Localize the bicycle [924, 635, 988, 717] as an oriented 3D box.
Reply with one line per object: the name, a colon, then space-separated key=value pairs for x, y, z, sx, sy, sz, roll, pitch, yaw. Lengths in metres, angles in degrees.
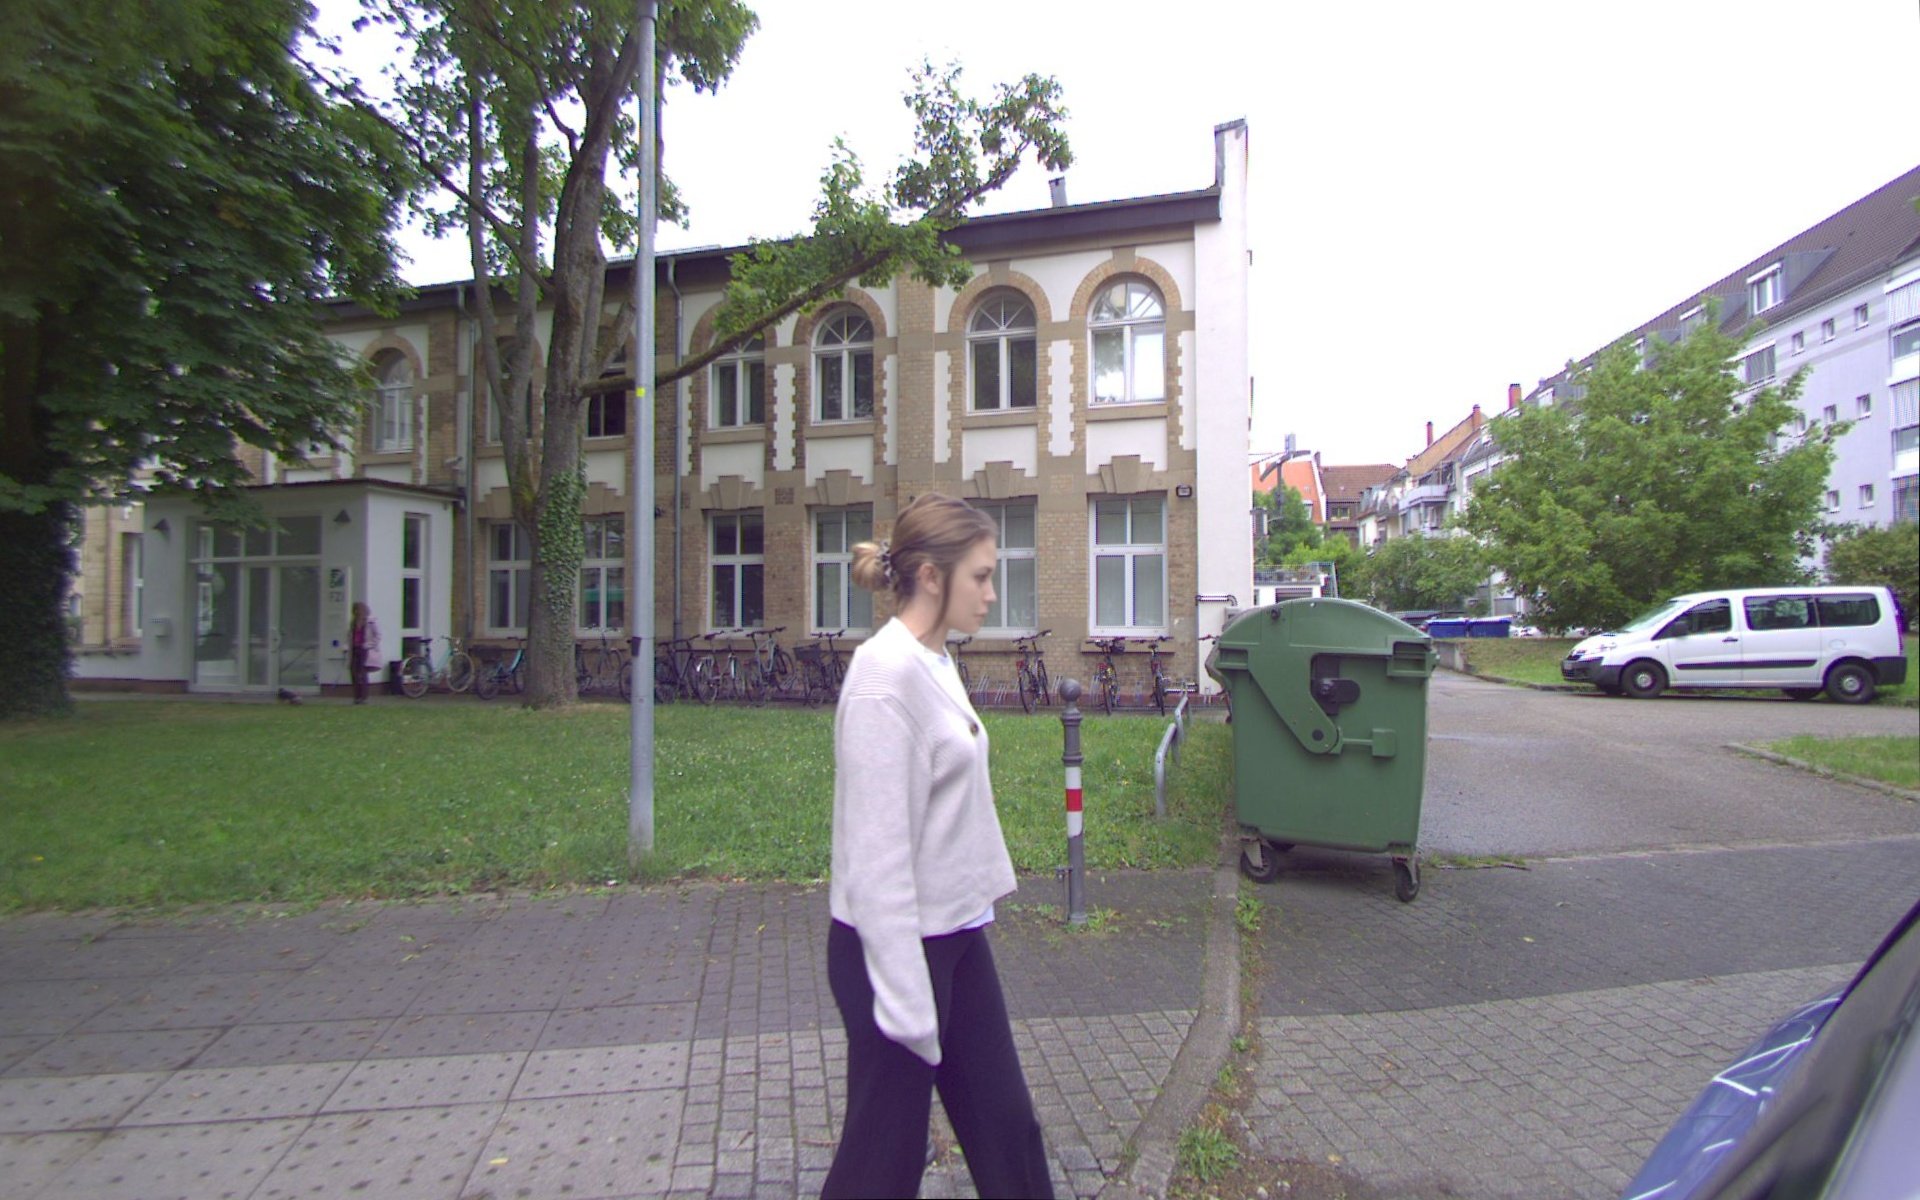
bicycle: x=-0.034 y=1.119 z=15.339 sx=0.454 sy=1.129 sz=1.734 roll=-1 pitch=-1 yaw=18

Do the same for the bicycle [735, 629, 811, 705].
bicycle: x=-2.995 y=1.051 z=16.364 sx=0.454 sy=1.129 sz=1.734 roll=-1 pitch=-1 yaw=18

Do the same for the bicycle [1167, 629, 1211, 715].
bicycle: x=3.303 y=0.990 z=14.537 sx=0.454 sy=1.129 sz=1.734 roll=-1 pitch=-1 yaw=18

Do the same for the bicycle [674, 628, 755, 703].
bicycle: x=-3.977 y=1.041 z=16.503 sx=0.454 sy=1.129 sz=1.734 roll=-1 pitch=-1 yaw=18

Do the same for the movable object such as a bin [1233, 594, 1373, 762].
movable object such as a bin: x=3.221 y=0.701 z=9.664 sx=1.092 sy=1.469 sz=1.321 roll=-1 pitch=-1 yaw=13

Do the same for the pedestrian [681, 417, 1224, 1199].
pedestrian: x=-0.048 y=0.670 z=1.788 sx=0.650 sy=1.804 sz=0.751 roll=0 pitch=-1 yaw=-34

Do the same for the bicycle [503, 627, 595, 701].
bicycle: x=-7.074 y=1.073 z=17.512 sx=0.454 sy=1.128 sz=1.735 roll=-1 pitch=1 yaw=18

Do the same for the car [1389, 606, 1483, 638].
car: x=26.257 y=1.209 z=55.954 sx=4.272 sy=1.757 sz=1.993 roll=-1 pitch=-1 yaw=11

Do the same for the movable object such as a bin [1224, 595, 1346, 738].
movable object such as a bin: x=3.549 y=0.703 z=11.208 sx=1.091 sy=1.469 sz=1.358 roll=-1 pitch=-1 yaw=11

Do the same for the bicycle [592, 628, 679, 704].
bicycle: x=-5.364 y=1.062 z=16.845 sx=0.454 sy=1.129 sz=1.735 roll=-1 pitch=0 yaw=18

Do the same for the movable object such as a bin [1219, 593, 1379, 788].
movable object such as a bin: x=2.746 y=0.701 z=8.385 sx=1.092 sy=1.469 sz=1.289 roll=-1 pitch=-1 yaw=13

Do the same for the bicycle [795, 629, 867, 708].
bicycle: x=-2.017 y=1.047 z=16.033 sx=0.454 sy=1.129 sz=1.734 roll=-1 pitch=-1 yaw=18

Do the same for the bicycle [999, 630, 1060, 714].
bicycle: x=1.049 y=1.029 z=15.002 sx=0.455 sy=1.129 sz=1.733 roll=-1 pitch=-1 yaw=20

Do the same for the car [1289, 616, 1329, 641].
car: x=21.695 y=1.738 z=62.959 sx=1.891 sy=1.416 sz=3.984 roll=-1 pitch=0 yaw=13

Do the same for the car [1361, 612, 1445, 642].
car: x=26.867 y=1.647 z=61.514 sx=4.272 sy=1.757 sz=1.993 roll=-1 pitch=-1 yaw=11

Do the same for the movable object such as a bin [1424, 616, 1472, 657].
movable object such as a bin: x=16.026 y=1.196 z=33.253 sx=1.164 sy=1.324 sz=1.222 roll=-1 pitch=-2 yaw=15

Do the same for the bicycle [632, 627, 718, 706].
bicycle: x=-4.612 y=1.050 z=16.515 sx=0.454 sy=1.128 sz=1.735 roll=-1 pitch=1 yaw=18

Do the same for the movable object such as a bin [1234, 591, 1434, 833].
movable object such as a bin: x=2.476 y=0.698 z=6.908 sx=1.092 sy=1.469 sz=1.280 roll=-1 pitch=-1 yaw=14

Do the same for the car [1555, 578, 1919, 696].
car: x=13.490 y=0.671 z=17.931 sx=4.710 sy=1.898 sz=1.889 roll=-1 pitch=-3 yaw=18

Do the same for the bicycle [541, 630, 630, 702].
bicycle: x=-6.329 y=1.091 z=17.206 sx=0.454 sy=1.129 sz=1.734 roll=-1 pitch=-1 yaw=18

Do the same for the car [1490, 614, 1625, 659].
car: x=24.361 y=1.471 z=41.408 sx=4.272 sy=1.757 sz=1.993 roll=-1 pitch=-1 yaw=11

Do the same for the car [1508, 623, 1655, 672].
car: x=23.478 y=1.786 z=38.390 sx=4.272 sy=1.757 sz=1.993 roll=-1 pitch=-1 yaw=11

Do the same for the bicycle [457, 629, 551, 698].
bicycle: x=-7.975 y=1.083 z=17.771 sx=0.454 sy=1.129 sz=1.734 roll=-1 pitch=-1 yaw=18

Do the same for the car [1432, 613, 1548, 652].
car: x=24.480 y=1.498 z=46.891 sx=4.272 sy=1.757 sz=1.993 roll=-1 pitch=-1 yaw=11

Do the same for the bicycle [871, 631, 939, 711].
bicycle: x=-0.824 y=1.052 z=15.513 sx=0.454 sy=1.129 sz=1.734 roll=-1 pitch=-1 yaw=18

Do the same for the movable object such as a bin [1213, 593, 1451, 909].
movable object such as a bin: x=2.034 y=0.702 z=5.467 sx=1.060 sy=1.452 sz=1.264 roll=-1 pitch=-1 yaw=25

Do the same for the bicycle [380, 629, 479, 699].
bicycle: x=-9.330 y=1.099 z=17.860 sx=0.454 sy=1.129 sz=1.734 roll=-1 pitch=-1 yaw=18

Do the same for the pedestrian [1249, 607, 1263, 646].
pedestrian: x=12.330 y=1.102 z=42.140 sx=0.491 sy=1.582 sz=0.428 roll=-1 pitch=-1 yaw=12

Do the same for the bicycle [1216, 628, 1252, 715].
bicycle: x=3.893 y=0.979 z=14.344 sx=0.454 sy=1.129 sz=1.735 roll=-1 pitch=-1 yaw=16

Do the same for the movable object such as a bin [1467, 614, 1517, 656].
movable object such as a bin: x=17.306 y=1.134 z=32.963 sx=1.164 sy=1.324 sz=1.222 roll=-1 pitch=-2 yaw=15

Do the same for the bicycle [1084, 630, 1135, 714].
bicycle: x=2.217 y=1.017 z=14.872 sx=0.454 sy=1.129 sz=1.734 roll=-1 pitch=-1 yaw=18

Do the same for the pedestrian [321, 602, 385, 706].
pedestrian: x=-9.649 y=0.847 z=16.098 sx=0.618 sy=1.607 sz=0.601 roll=-1 pitch=-1 yaw=16
